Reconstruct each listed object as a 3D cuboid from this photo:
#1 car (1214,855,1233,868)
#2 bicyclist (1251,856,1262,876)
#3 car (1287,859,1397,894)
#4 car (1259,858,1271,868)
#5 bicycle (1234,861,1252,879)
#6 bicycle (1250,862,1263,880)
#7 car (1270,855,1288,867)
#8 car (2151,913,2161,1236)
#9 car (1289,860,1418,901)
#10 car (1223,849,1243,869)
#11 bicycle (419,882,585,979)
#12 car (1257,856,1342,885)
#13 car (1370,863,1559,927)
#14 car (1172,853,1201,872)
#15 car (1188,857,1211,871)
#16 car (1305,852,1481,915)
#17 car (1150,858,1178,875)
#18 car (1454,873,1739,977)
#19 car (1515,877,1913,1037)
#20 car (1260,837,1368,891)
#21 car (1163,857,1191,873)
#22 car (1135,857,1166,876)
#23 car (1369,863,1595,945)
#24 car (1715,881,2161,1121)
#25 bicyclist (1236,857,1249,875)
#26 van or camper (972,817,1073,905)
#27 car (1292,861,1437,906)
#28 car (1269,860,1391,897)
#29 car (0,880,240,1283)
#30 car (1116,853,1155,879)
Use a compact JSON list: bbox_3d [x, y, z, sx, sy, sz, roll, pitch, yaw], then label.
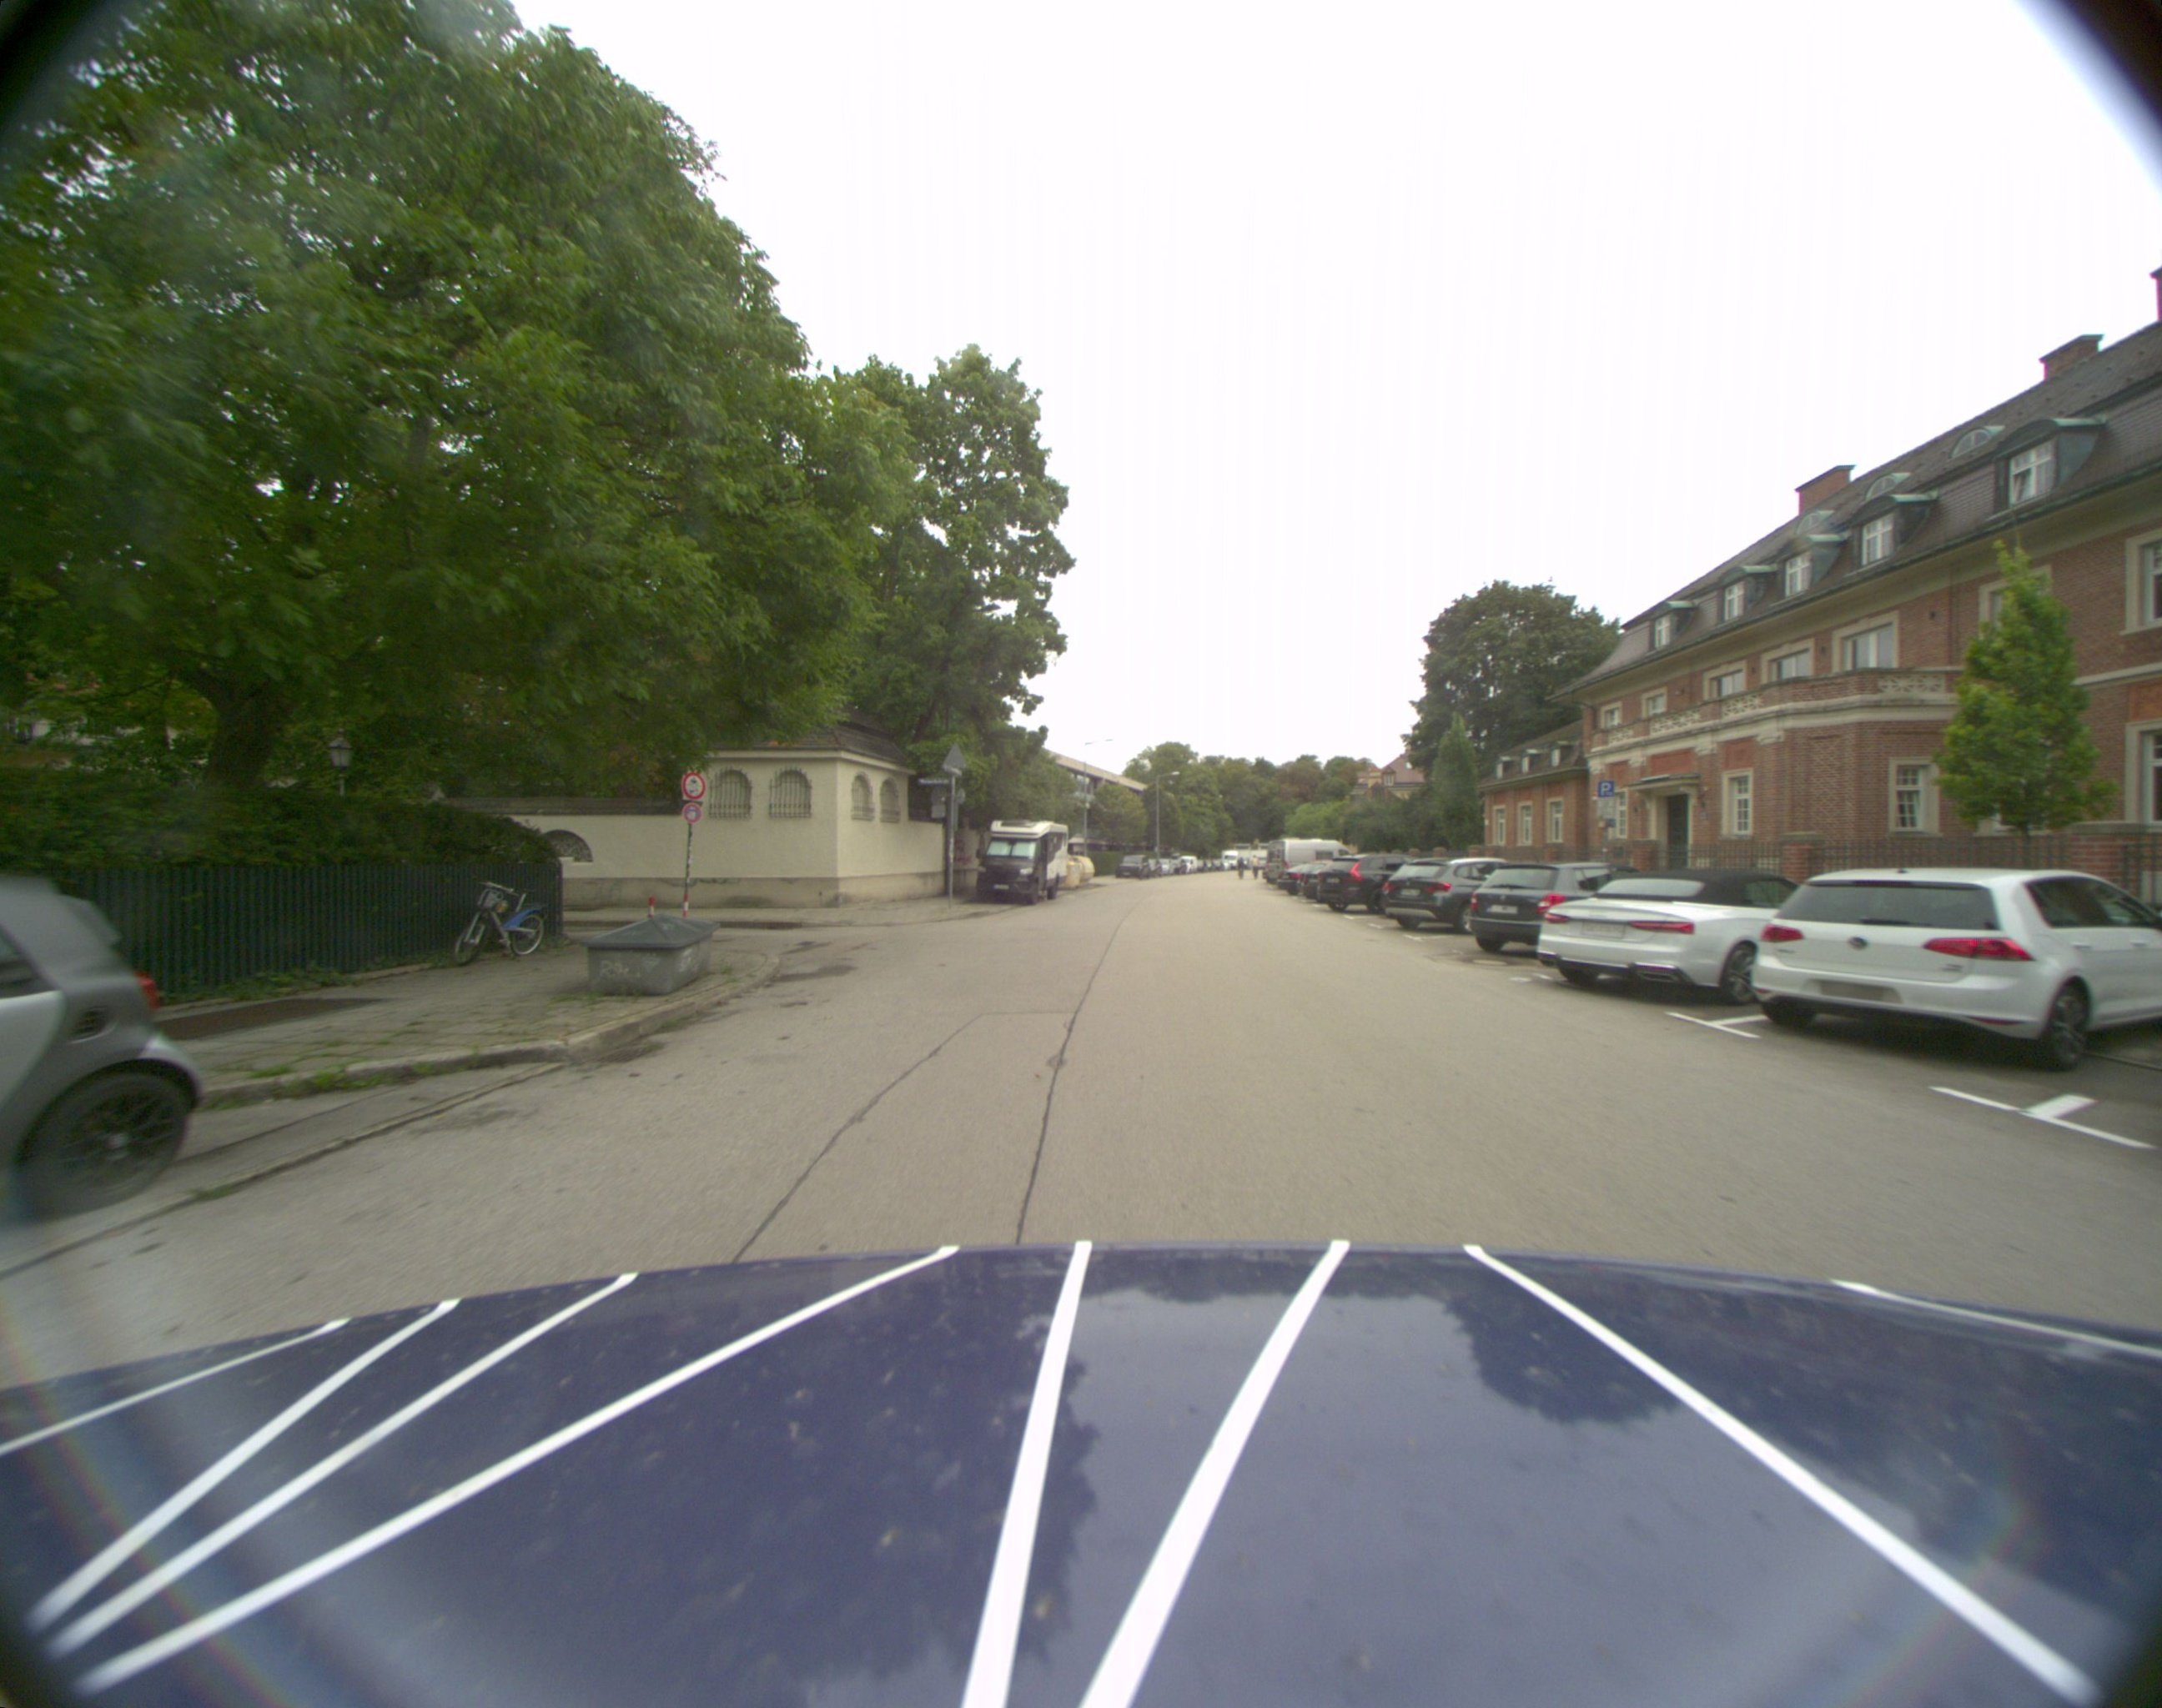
[{"bbox_3d":[18.973,1.044,100.783,1.873,1.560,5.009,2,0,16],"label":"car"},{"bbox_3d":[12.770,0.866,55.191,0.697,1.389,0.931,0,0,20],"label":"bicyclist"},{"bbox_3d":[12.067,0.997,35.189,4.530,1.508,1.934,0,0,-16],"label":"car"},{"bbox_3d":[30.898,1.522,127.786,1.894,1.437,4.275,-2,-2,13],"label":"car"},{"bbox_3d":[11.805,1.137,55.377,0.707,1.298,2.122,0,0,27],"label":"bicycle"},{"bbox_3d":[12.765,1.217,55.225,0.708,1.298,2.121,0,0,20],"label":"bicycle"},{"bbox_3d":[31.380,1.129,120.402,1.995,1.682,4.343,-3,-2,25],"label":"car"},{"bbox_3d":[7.163,0.984,3.683,4.420,1.431,1.961,0,1,-31],"label":"car"},{"bbox_3d":[10.423,1.020,29.081,4.532,1.442,1.817,1,0,-21],"label":"car"},{"bbox_3d":[21.446,0.720,107.034,2.081,2.671,6.097,2,0,18],"label":"car"},{"bbox_3d":[-7.897,0.993,10.511,0.808,1.155,1.973,0,0,-1],"label":"bicycle"},{"bbox_3d":[13.179,1.000,45.950,4.529,1.584,1.963,1,1,-14],"label":"car"},{"bbox_3d":[9.840,1.041,19.523,4.334,1.463,1.817,2,0,-19],"label":"car"},{"bbox_3d":[11.054,0.908,79.284,1.824,1.849,4.906,-1,-1,21],"label":"car"},{"bbox_3d":[13.244,1.101,84.754,1.749,1.455,4.249,1,0,19],"label":"car"},{"bbox_3d":[8.980,0.824,21.896,4.532,1.655,1.984,1,1,-21],"label":"car"},{"bbox_3d":[7.675,1.114,70.104,1.749,1.472,3.894,0,0,19],"label":"car"},{"bbox_3d":[8.406,1.053,12.373,4.401,1.442,1.654,1,0,-22],"label":"car"},{"bbox_3d":[7.603,1.043,9.101,4.523,1.442,1.893,0,0,-25],"label":"car"},{"bbox_3d":[11.610,0.500,37.904,4.639,2.548,2.231,1,0,-14],"label":"car"},{"bbox_3d":[9.398,1.067,74.396,1.749,1.471,4.605,-1,-1,19],"label":"car"},{"bbox_3d":[5.966,1.047,64.629,1.750,1.530,4.576,0,0,17],"label":"car"},{"bbox_3d":[8.718,0.983,16.507,4.532,1.558,1.886,0,0,-23],"label":"car"},{"bbox_3d":[8.125,1.081,6.838,4.523,1.501,1.927,2,0,-25],"label":"car"},{"bbox_3d":[11.770,0.857,55.299,0.697,1.344,0.932,0,0,27],"label":"bicyclist"},{"bbox_3d":[-1.981,0.243,28.549,2.277,2.889,7.281,0,0,8],"label":"van or camper"},{"bbox_3d":[9.868,1.025,26.467,4.532,1.409,1.924,1,0,-21],"label":"car"},{"bbox_3d":[10.446,1.026,31.933,4.531,1.442,1.974,1,0,-18],"label":"car"},{"bbox_3d":[-5.098,0.923,2.369,1.744,1.527,2.945,1,1,-3],"label":"car"},{"bbox_3d":[4.325,0.889,59.505,1.990,1.860,5.084,-1,0,17],"label":"car"}]
